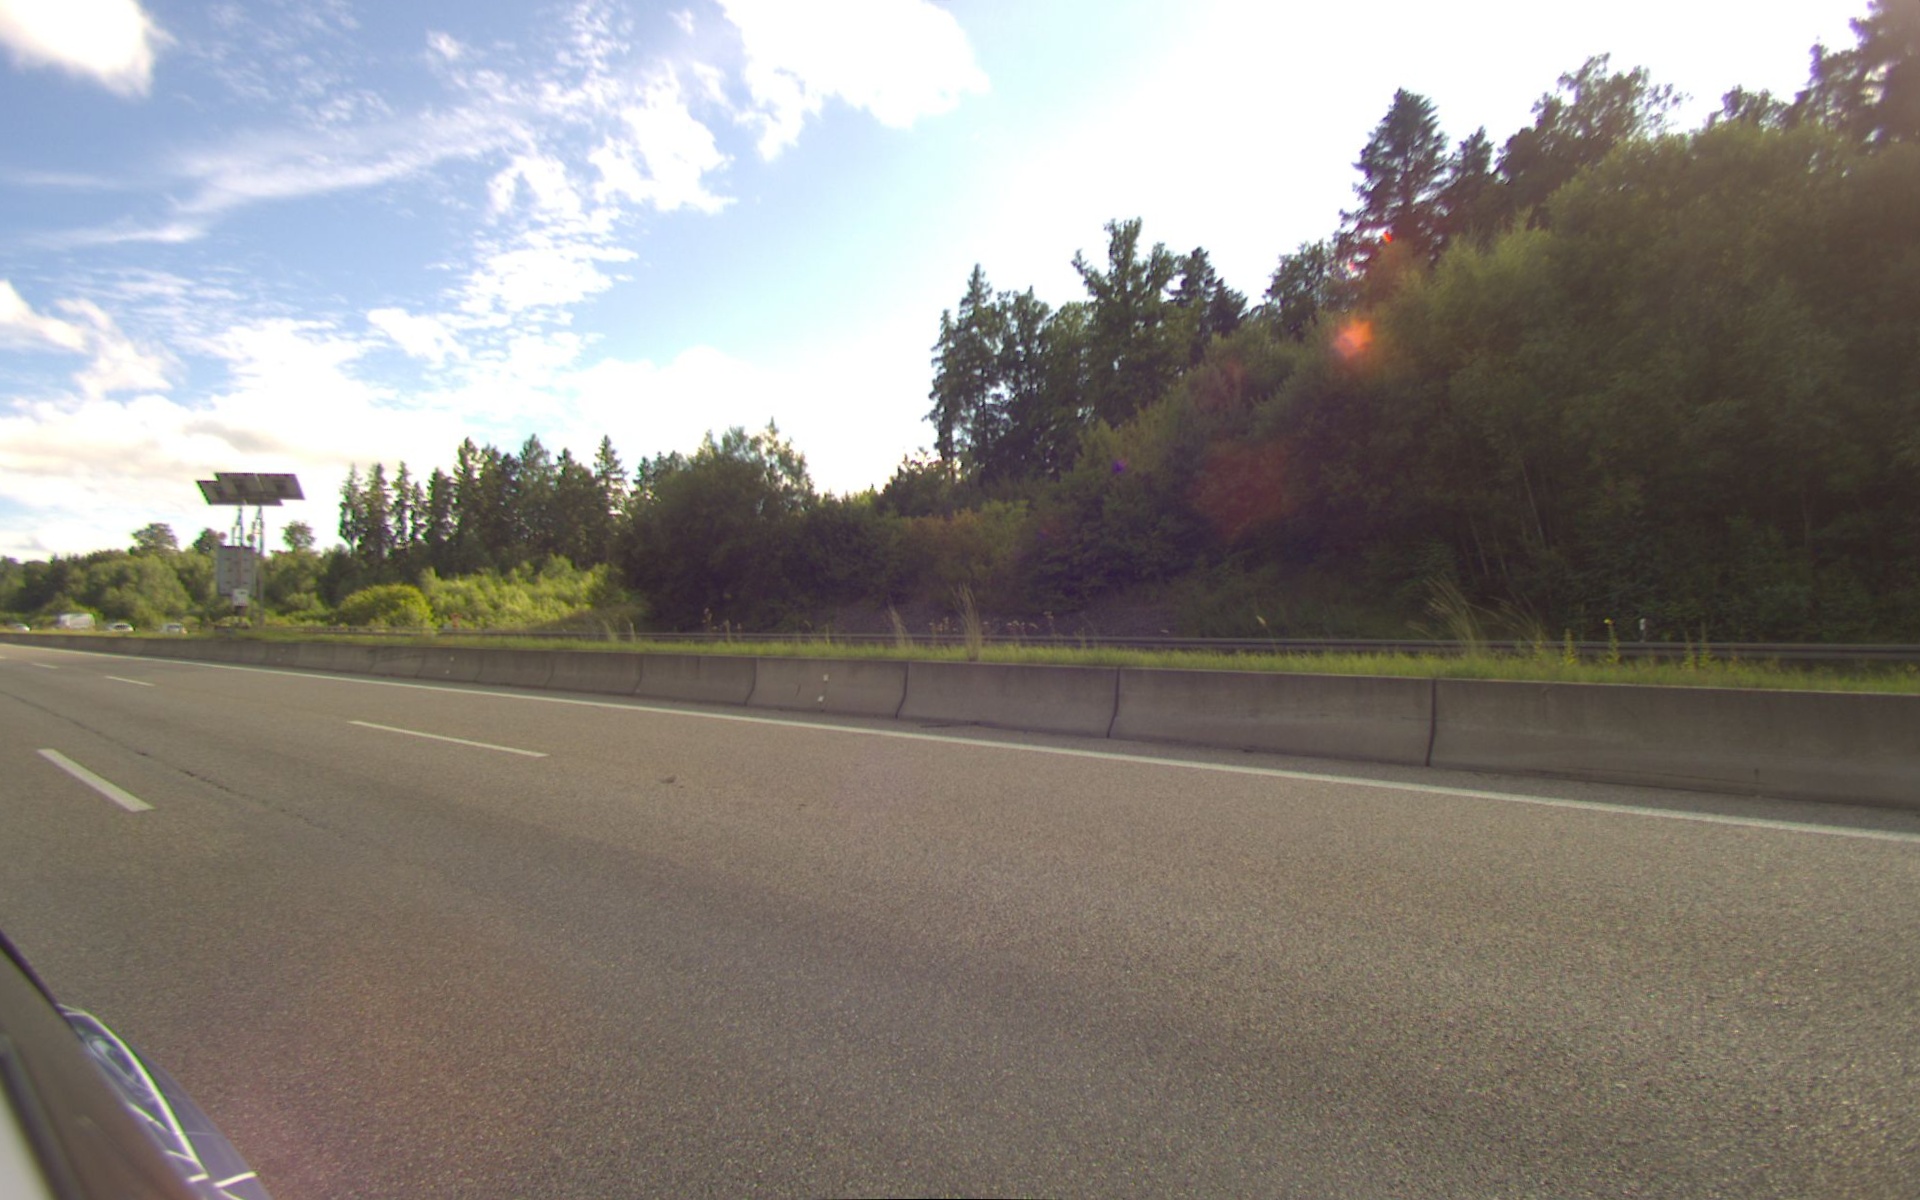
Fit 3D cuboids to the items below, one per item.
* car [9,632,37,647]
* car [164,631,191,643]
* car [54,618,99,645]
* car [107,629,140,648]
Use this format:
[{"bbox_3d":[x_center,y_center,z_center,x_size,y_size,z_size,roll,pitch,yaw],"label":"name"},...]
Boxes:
[{"bbox_3d":[-138.094,5.787,149.072,5.964,2.155,2.551,-2,-1,42],"label":"car"},{"bbox_3d":[-76.796,3.607,99.297,3.172,1.102,1.574,-2,-1,42],"label":"car"},{"bbox_3d":[-82.241,2.909,94.174,5.828,2.364,2.551,-2,-1,42],"label":"car"},{"bbox_3d":[-82.322,3.762,99.589,4.492,1.819,1.903,-2,-1,42],"label":"car"}]
